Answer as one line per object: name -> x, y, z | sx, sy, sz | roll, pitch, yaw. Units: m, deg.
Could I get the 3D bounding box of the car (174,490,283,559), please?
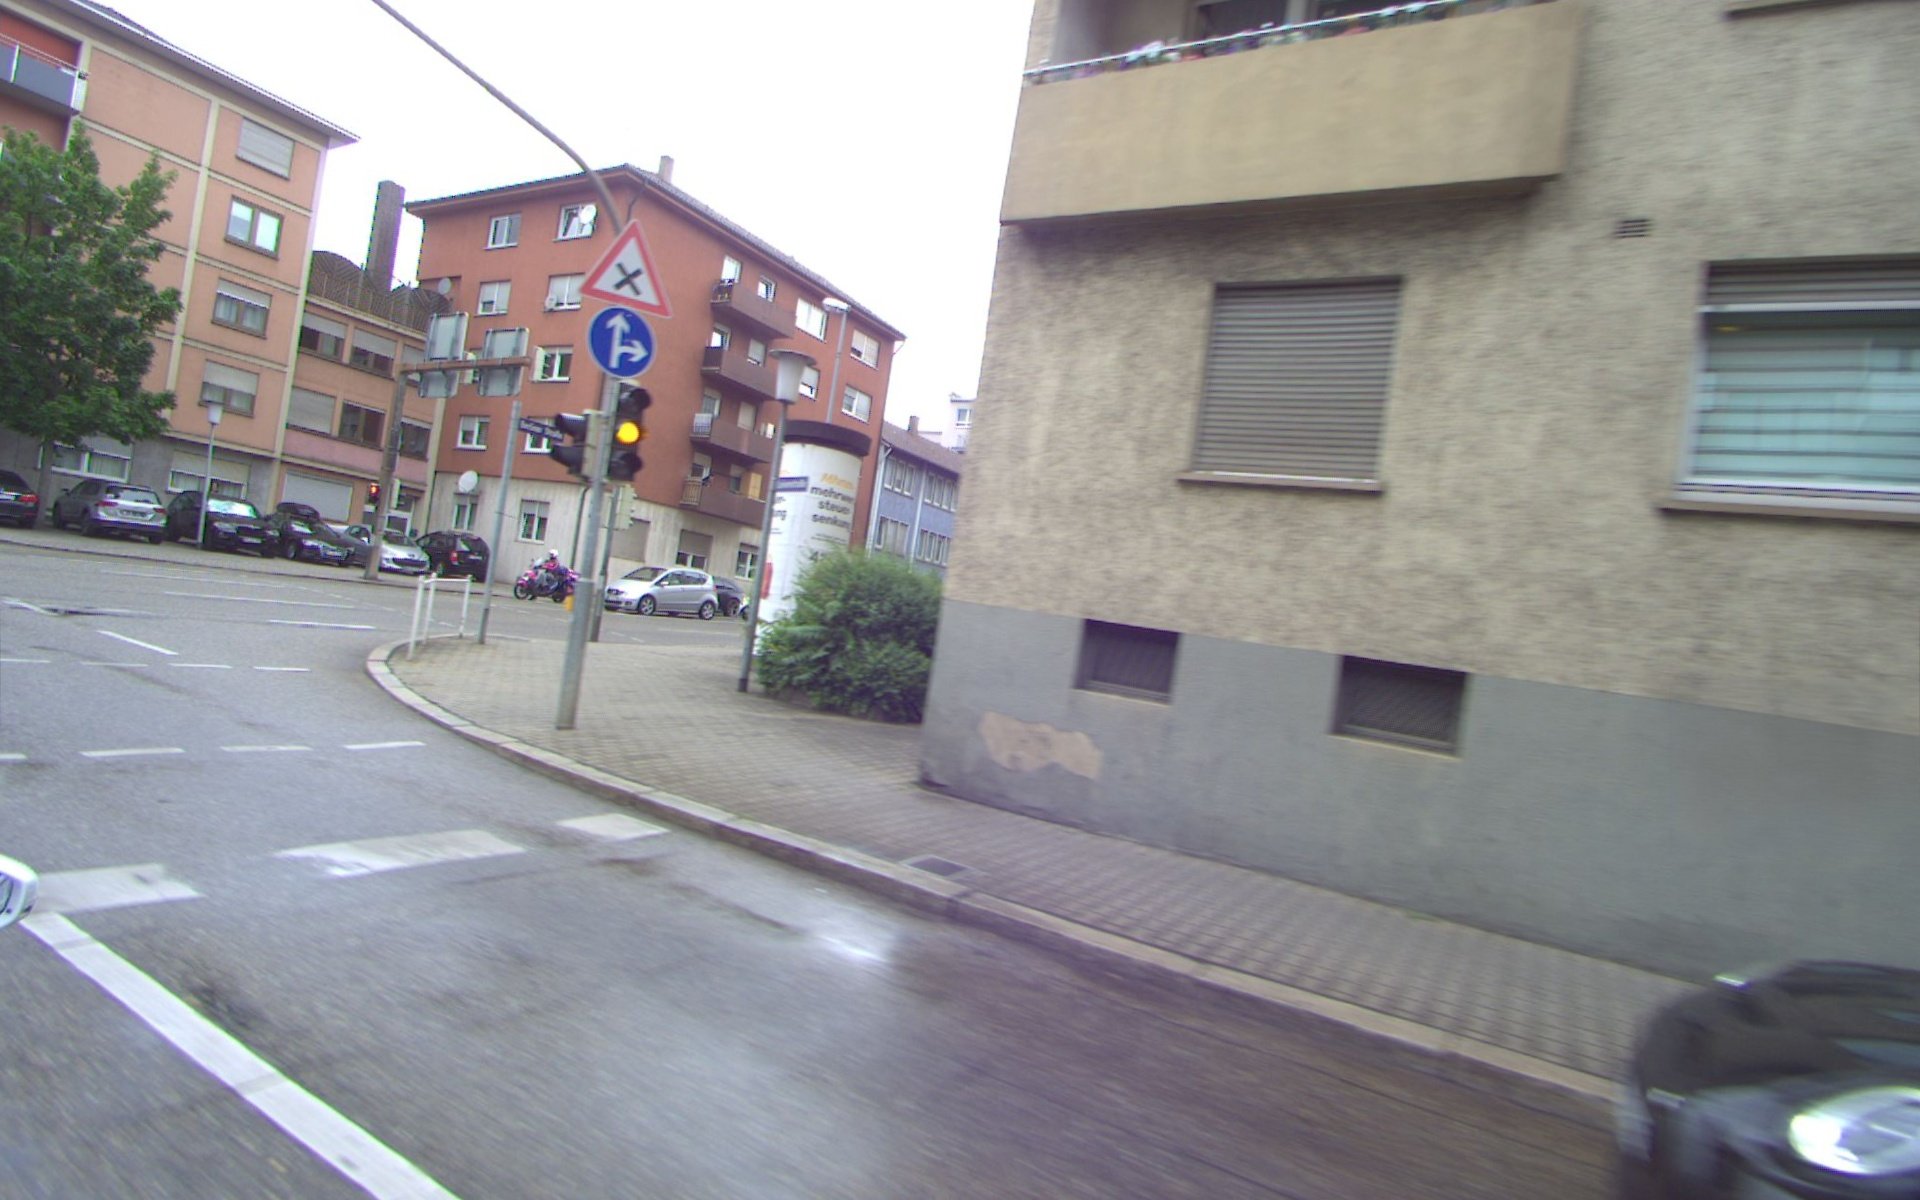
car -> -23.122, -2.420, 31.764 | 3.947, 1.740, 1.983 | 7, -1, 44

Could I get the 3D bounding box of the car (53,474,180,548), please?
car -> -24.975, -2.641, 29.754 | 3.940, 1.680, 1.987 | 7, -1, 38

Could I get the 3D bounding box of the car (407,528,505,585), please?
car -> -19.491, -1.705, 38.851 | 3.948, 1.724, 1.992 | 5, -4, 44

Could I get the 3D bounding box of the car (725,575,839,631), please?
car -> -6.494, 0.149, 37.045 | 1.819, 1.573, 3.993 | 7, -1, 31

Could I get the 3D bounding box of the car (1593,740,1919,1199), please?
car -> 3.554, 1.303, 1.692 | 4.003, 1.437, 1.664 | 6, -2, 30

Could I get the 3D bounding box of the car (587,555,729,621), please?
car -> -9.534, -0.339, 32.016 | 1.811, 1.573, 3.993 | 7, -1, 32

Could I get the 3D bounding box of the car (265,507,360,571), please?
car -> -22.146, -2.103, 34.359 | 1.792, 1.717, 3.949 | 11, -3, -44

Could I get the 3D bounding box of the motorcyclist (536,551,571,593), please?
motorcyclist -> -13.011, -0.890, 32.191 | 0.642, 1.239, 0.657 | 8, 1, 25

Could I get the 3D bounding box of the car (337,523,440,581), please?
car -> -20.545, -1.746, 36.126 | 3.940, 1.599, 1.671 | 6, -4, 38

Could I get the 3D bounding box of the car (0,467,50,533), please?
car -> -27.004, -2.930, 27.605 | 4.719, 1.573, 1.846 | 7, -1, 34

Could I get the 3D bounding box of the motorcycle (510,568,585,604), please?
motorcycle -> -13.111, -0.440, 32.072 | 0.626, 0.938, 2.363 | 6, 0, 25
